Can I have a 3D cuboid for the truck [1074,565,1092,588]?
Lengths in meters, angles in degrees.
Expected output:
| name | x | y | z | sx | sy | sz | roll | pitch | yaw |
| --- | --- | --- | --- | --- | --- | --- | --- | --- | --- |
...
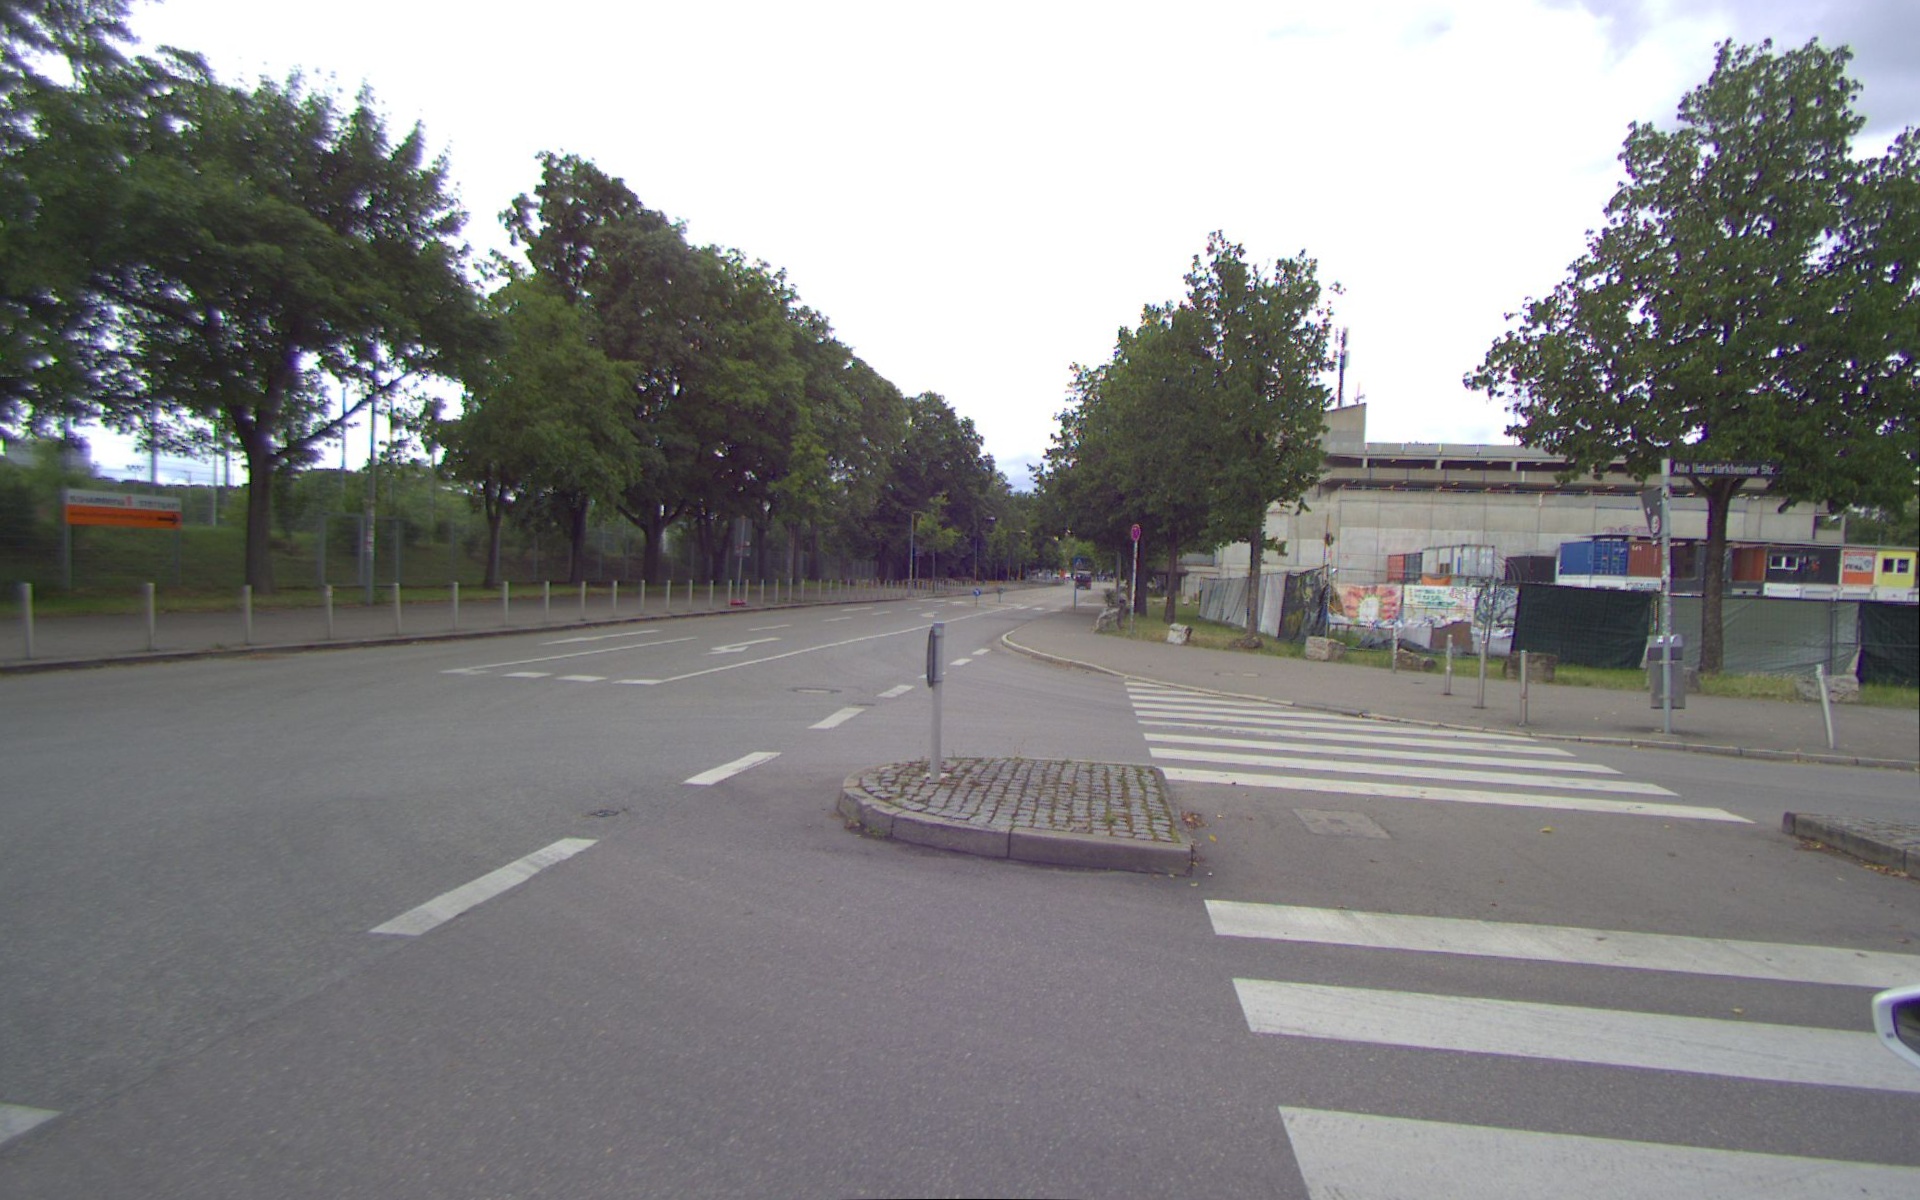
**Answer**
| name | x | y | z | sx | sy | sz | roll | pitch | yaw |
| --- | --- | --- | --- | --- | --- | --- | --- | --- | --- |
| truck | 20.262 | -3.785 | 165.234 | 2.627 | 3.606 | 7.927 | -1 | 0 | 9 |
